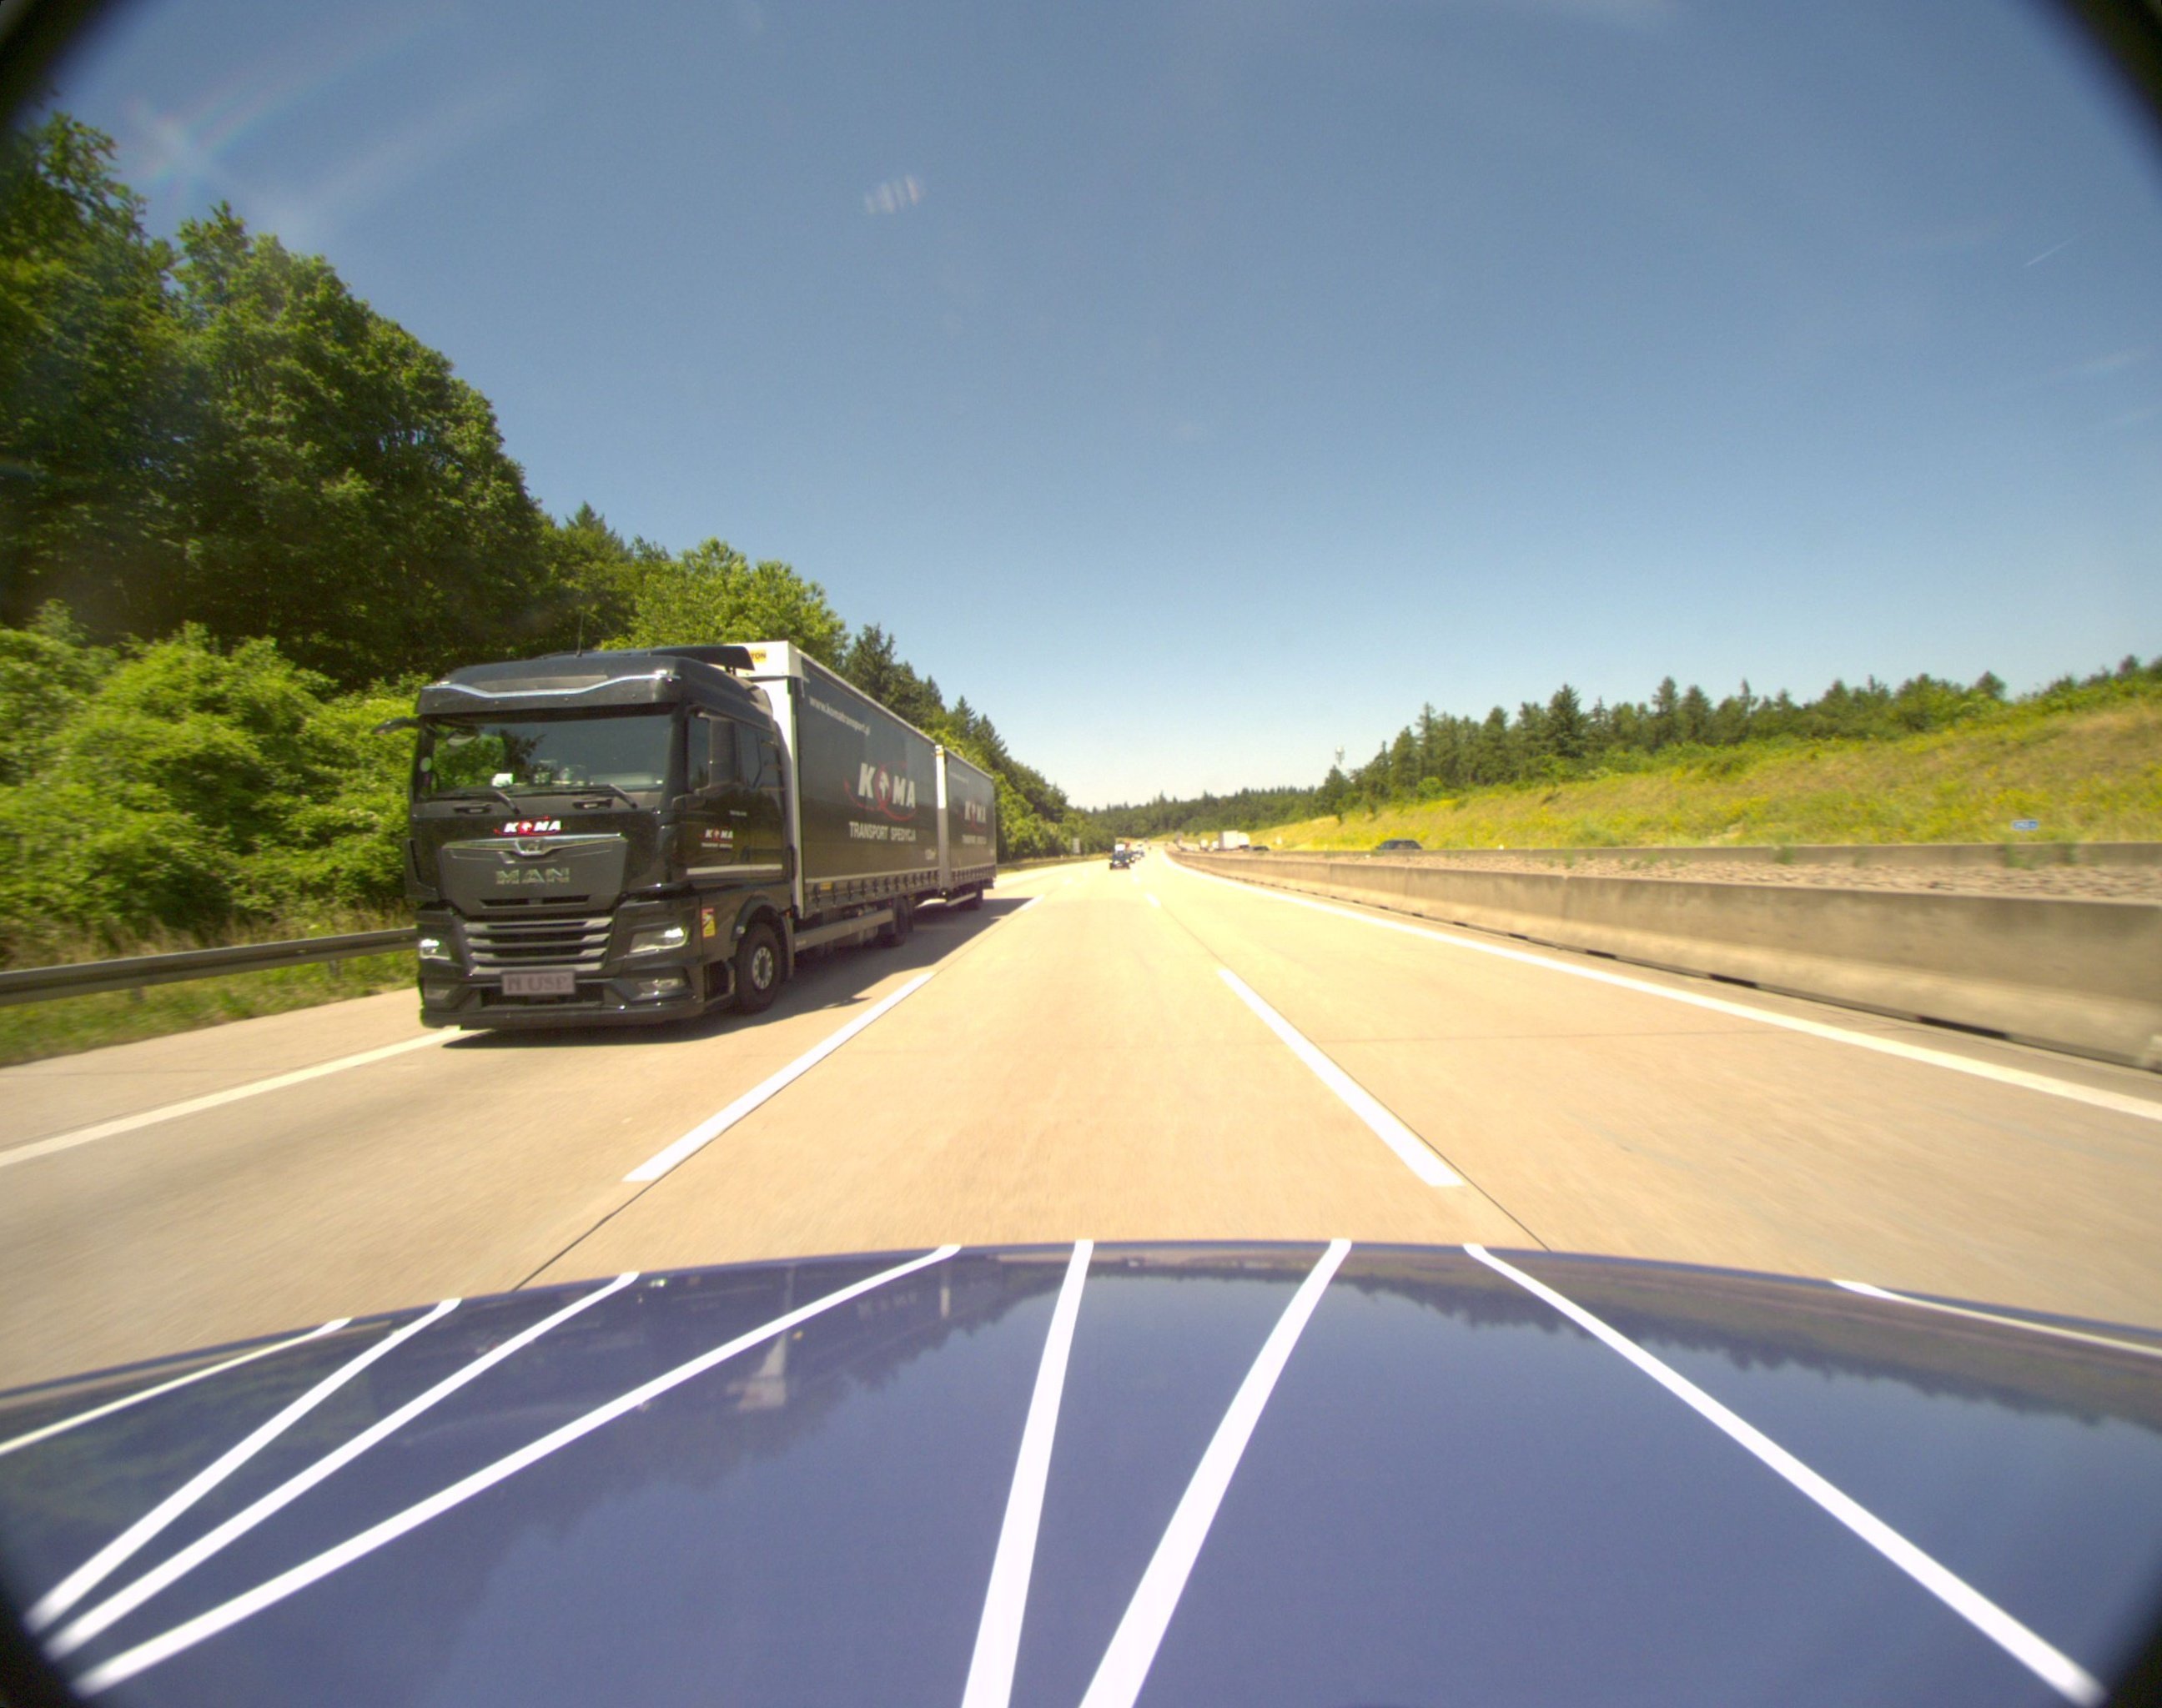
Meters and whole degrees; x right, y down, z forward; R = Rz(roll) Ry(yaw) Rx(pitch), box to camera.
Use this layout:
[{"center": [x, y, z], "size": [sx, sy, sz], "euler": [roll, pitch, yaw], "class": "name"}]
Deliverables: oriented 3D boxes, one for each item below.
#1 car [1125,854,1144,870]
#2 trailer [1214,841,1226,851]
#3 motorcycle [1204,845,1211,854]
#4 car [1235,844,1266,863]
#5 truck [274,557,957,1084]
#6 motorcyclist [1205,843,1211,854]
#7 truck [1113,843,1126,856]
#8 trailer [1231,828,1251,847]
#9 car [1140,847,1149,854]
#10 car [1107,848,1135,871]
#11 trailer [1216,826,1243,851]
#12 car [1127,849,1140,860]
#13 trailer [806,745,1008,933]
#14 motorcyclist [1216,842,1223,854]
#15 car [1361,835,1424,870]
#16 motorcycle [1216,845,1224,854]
[{"center": [6.824, 1.034, 96.747], "size": [1.997, 1.694, 4.401], "euler": [-5, 1, 7], "class": "car"}, {"center": [39.585, -2.351, 216.252], "size": [2.611, 2.616, 7.784], "euler": [-4, 0, 6], "class": "trailer"}, {"center": [22.863, -0.795, 137.086], "size": [1.010, 1.540, 2.484], "euler": [-2, 0, 5], "class": "motorcycle"}, {"center": [15.078, -0.067, 67.661], "size": [1.998, 1.576, 4.000], "euler": [-2, 0, 2], "class": "car"}, {"center": [-4.508, -0.276, 11.250], "size": [3.167, 3.993, 10.607], "euler": [-2, 0, 2], "class": "truck"}, {"center": [22.858, -0.968, 137.070], "size": [0.820, 1.863, 1.492], "euler": [-2, 1, 5], "class": "motorcyclist"}, {"center": [9.164, -1.172, 180.196], "size": [2.482, 2.779, 5.917], "euler": [-5, 1, 7], "class": "truck"}, {"center": [31.458, -3.220, 149.430], "size": [2.731, 3.393, 8.957], "euler": [-4, 1, 6], "class": "trailer"}, {"center": [15.615, -0.789, 187.097], "size": [1.842, 1.547, 4.001], "euler": [-4, 1, 6], "class": "car"}, {"center": [3.577, 0.449, 67.182], "size": [1.930, 1.694, 4.401], "euler": [-5, 1, 7], "class": "car"}, {"center": [25.890, -2.733, 133.406], "size": [3.168, 3.909, 13.870], "euler": [-4, 1, 6], "class": "trailer"}, {"center": [8.838, 0.082, 128.531], "size": [1.998, 1.694, 4.400], "euler": [-5, 1, 3], "class": "car"}, {"center": [-4.249, -0.350, 21.173], "size": [3.142, 3.993, 9.088], "euler": [-2, 0, 2], "class": "trailer"}, {"center": [20.113, -0.815, 110.406], "size": [0.694, 1.699, 1.525], "euler": [-2, 1, 5], "class": "motorcyclist"}, {"center": [16.965, -0.089, 41.567], "size": [1.824, 1.786, 4.000], "euler": [-2, 0, 1], "class": "car"}, {"center": [20.151, -0.641, 110.410], "size": [0.826, 1.364, 2.358], "euler": [-2, 0, 5], "class": "motorcycle"}]
